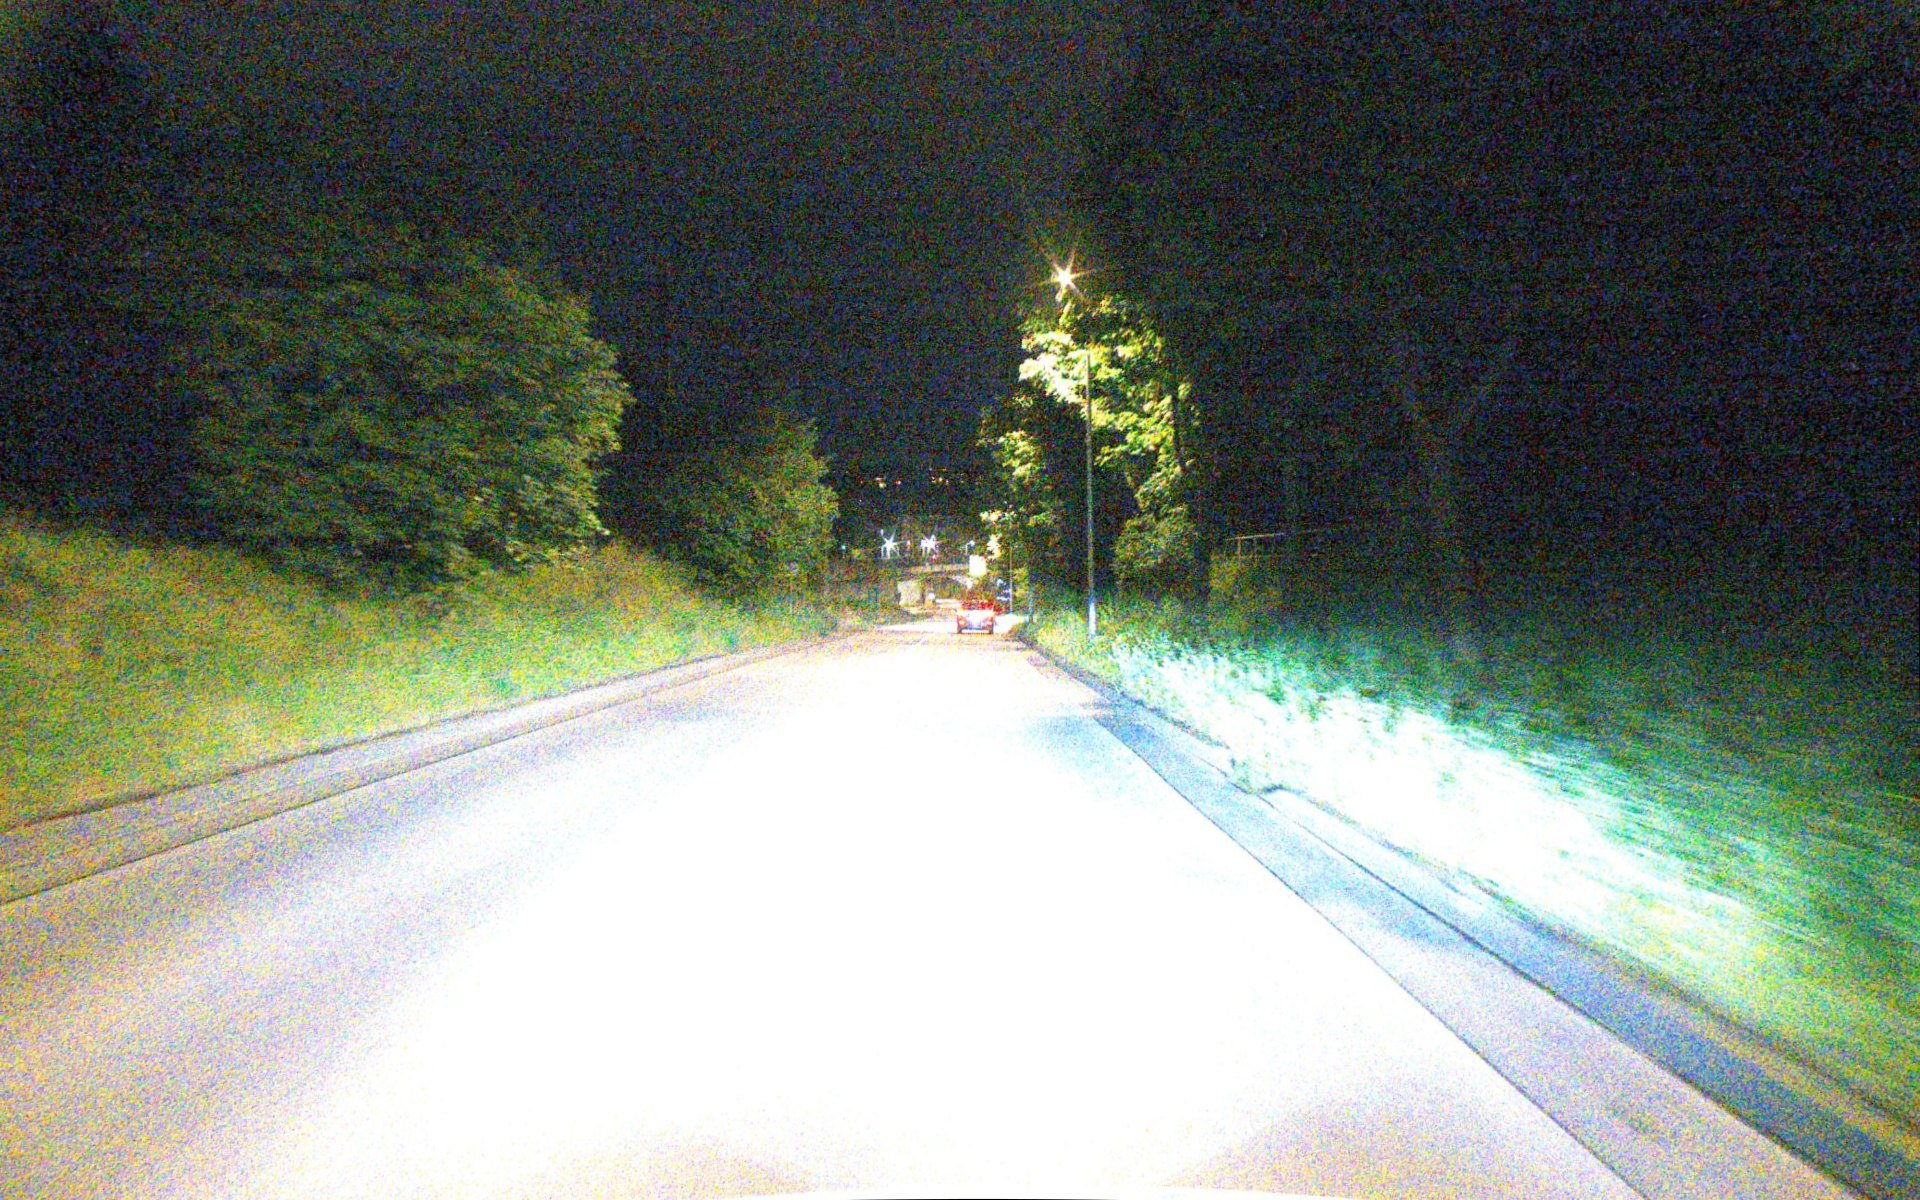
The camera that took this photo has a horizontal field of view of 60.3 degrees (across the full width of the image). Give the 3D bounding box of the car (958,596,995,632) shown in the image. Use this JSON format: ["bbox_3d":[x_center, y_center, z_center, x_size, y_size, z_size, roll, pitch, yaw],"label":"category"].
[{"bbox_3d":[0.829,0.653,79.926,1.726,1.670,3.723,0,0,1],"label":"car"}]
